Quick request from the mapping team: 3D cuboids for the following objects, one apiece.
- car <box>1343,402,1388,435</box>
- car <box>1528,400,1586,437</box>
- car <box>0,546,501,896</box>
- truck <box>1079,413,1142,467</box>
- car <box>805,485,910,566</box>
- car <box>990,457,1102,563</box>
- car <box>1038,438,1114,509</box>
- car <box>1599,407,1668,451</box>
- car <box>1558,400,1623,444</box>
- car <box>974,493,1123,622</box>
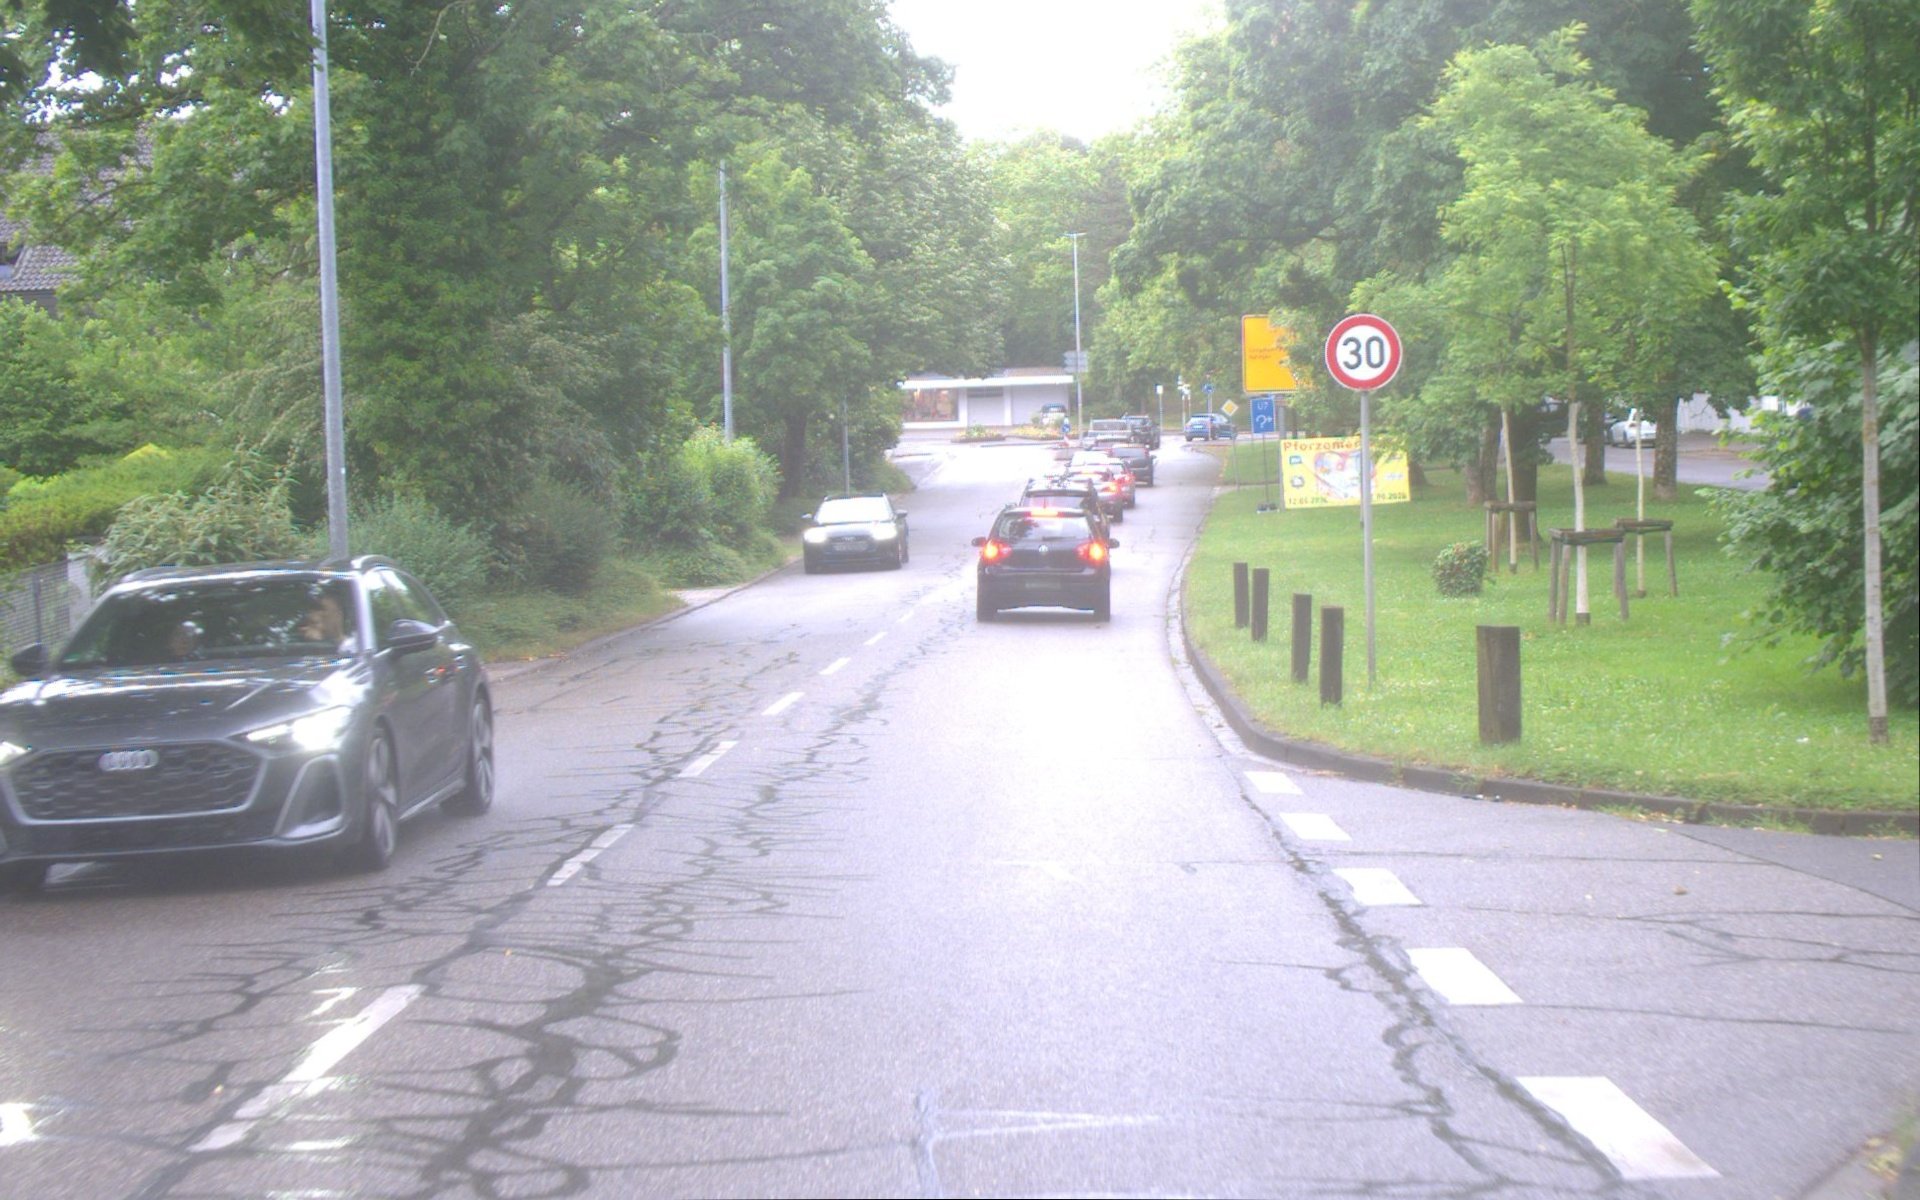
[{"bbox_3d":[18.839,-8.449,159.843,1.803,1.380,4.001,-3,4,4],"label":"car"},{"bbox_3d":[25.456,-7.751,146.660,1.802,1.406,4.113,-3,5,1],"label":"car"},{"bbox_3d":[-3.460,0.488,16.917,1.689,1.391,4.491,-4,1,0],"label":"car"},{"bbox_3d":[6.014,-6.439,137.741,2.417,1.997,5.151,-2,3,2],"label":"truck"},{"bbox_3d":[-1.971,-1.482,67.192,1.754,1.358,4.326,-3,3,1],"label":"car"},{"bbox_3d":[1.616,-1.694,63.598,1.856,1.778,4.000,-1,3,4],"label":"car"},{"bbox_3d":[3.144,-3.405,92.182,1.856,1.778,4.000,-1,3,4],"label":"car"},{"bbox_3d":[24.814,-6.314,126.797,1.616,1.404,4.011,-3,5,-2],"label":"car"},{"bbox_3d":[24.671,-6.977,134.558,1.802,1.524,4.113,-3,5,1],"label":"car"},{"bbox_3d":[1.203,-0.600,45.320,1.799,1.510,3.754,1,3,4],"label":"car"}]
